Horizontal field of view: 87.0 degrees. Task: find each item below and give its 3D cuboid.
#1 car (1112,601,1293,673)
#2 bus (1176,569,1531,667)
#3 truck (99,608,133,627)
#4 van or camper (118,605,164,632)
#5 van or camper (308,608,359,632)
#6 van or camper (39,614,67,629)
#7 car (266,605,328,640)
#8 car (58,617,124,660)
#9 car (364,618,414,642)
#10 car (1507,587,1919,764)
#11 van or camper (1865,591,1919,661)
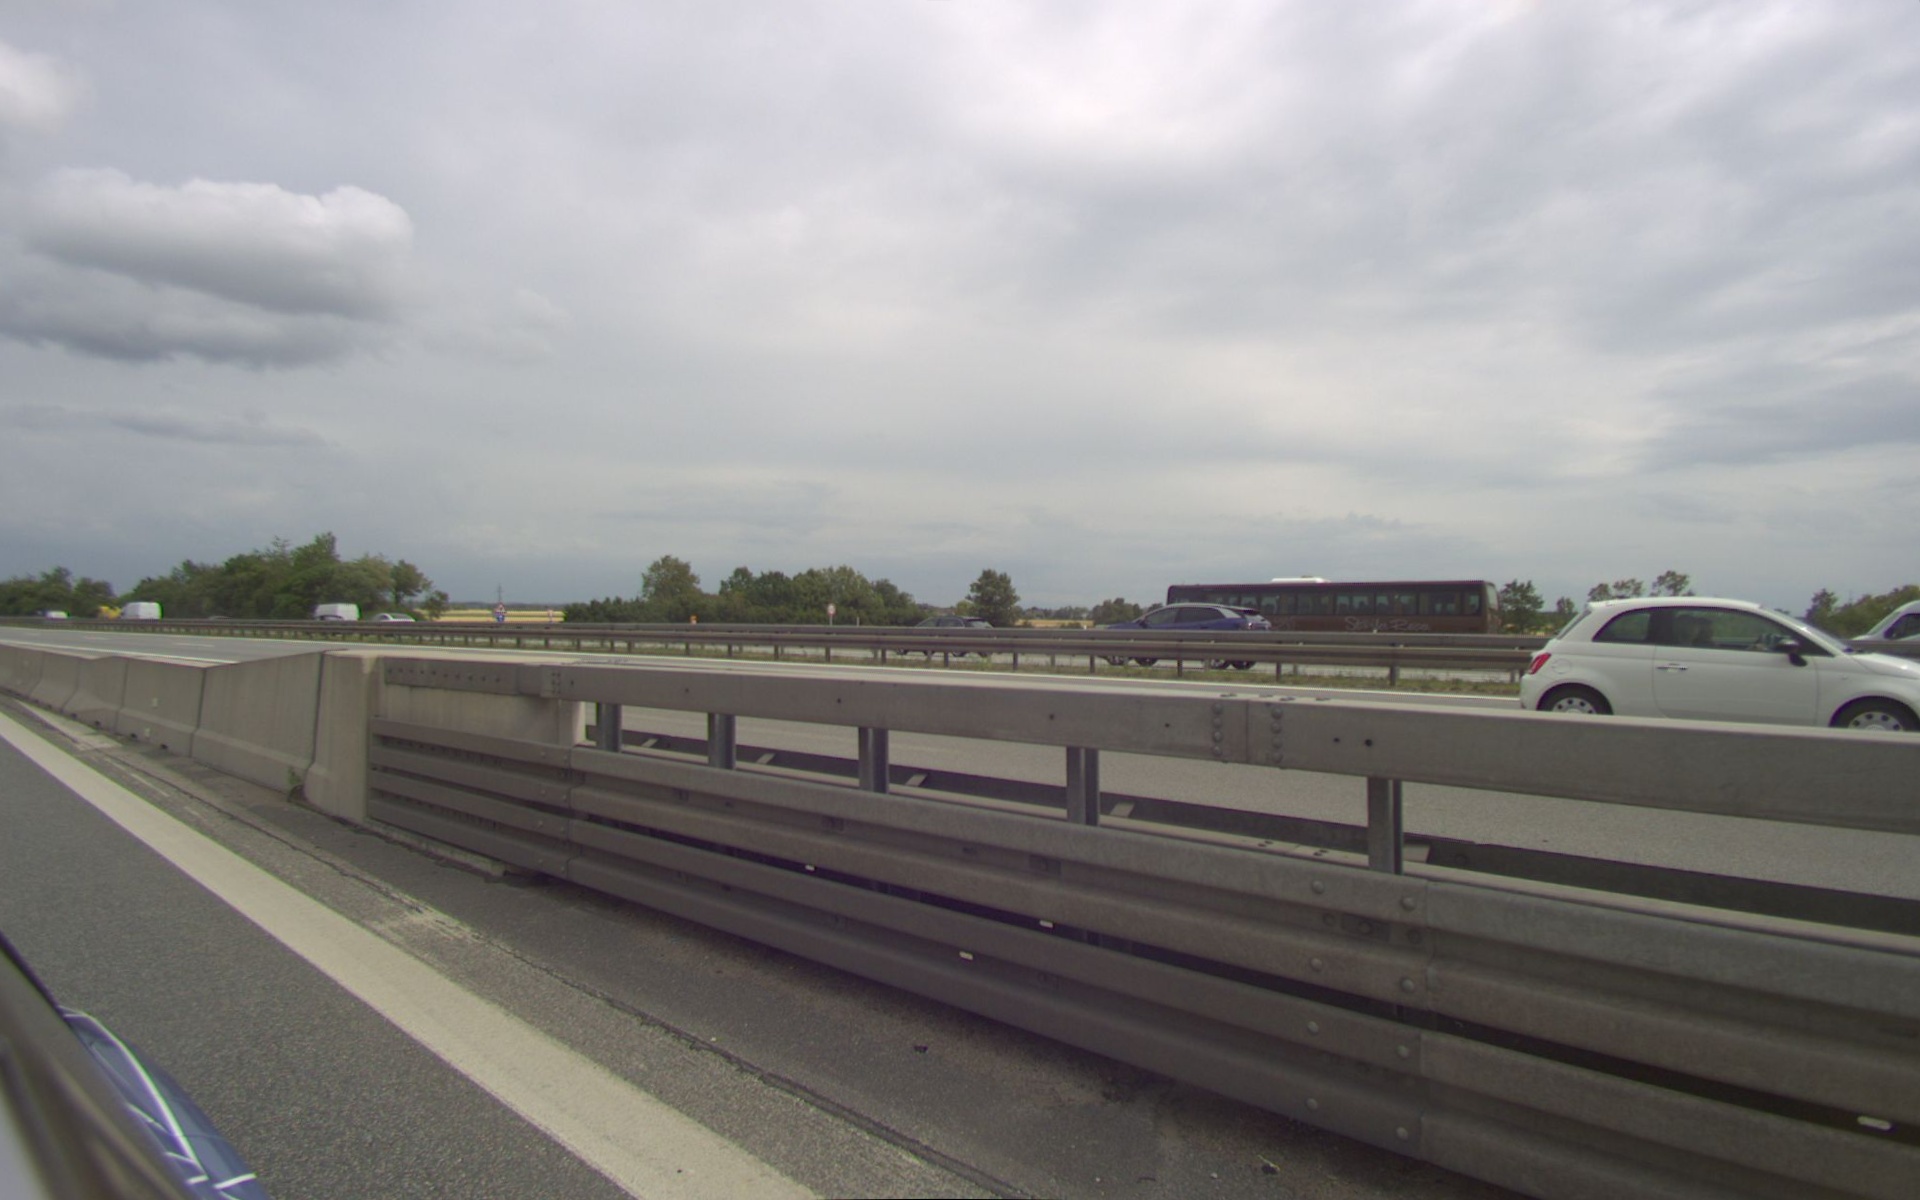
[{"bbox_3d":[6.084,0.882,25.575,3.994,1.674,1.975,-1,0,38],"label":"car"},{"bbox_3d":[15.406,0.695,40.818,12.971,3.468,3.184,-1,0,37],"label":"bus"},{"bbox_3d":[-130.735,2.662,156.750,8.779,2.795,2.876,-1,-1,42],"label":"truck"},{"bbox_3d":[-83.286,1.837,102.838,6.895,2.639,2.166,-1,-1,38],"label":"van or camper"},{"bbox_3d":[-58.730,1.833,94.774,5.801,2.188,2.166,-1,-1,38],"label":"van or camper"},{"bbox_3d":[-113.979,2.706,127.202,4.343,1.842,1.974,-1,0,40],"label":"van or camper"},{"bbox_3d":[-40.284,1.345,61.466,3.993,2.029,1.975,-1,0,37],"label":"car"},{"bbox_3d":[-41.555,1.810,48.367,3.997,1.896,1.776,-1,0,41],"label":"car"},{"bbox_3d":[-36.213,1.874,64.148,3.997,1.475,1.507,-1,0,41],"label":"car"},{"bbox_3d":[7.603,0.658,9.944,3.766,1.496,1.666,0,-1,36],"label":"car"},{"bbox_3d":[29.328,0.730,29.023,4.877,2.029,1.975,-1,0,38],"label":"van or camper"}]
